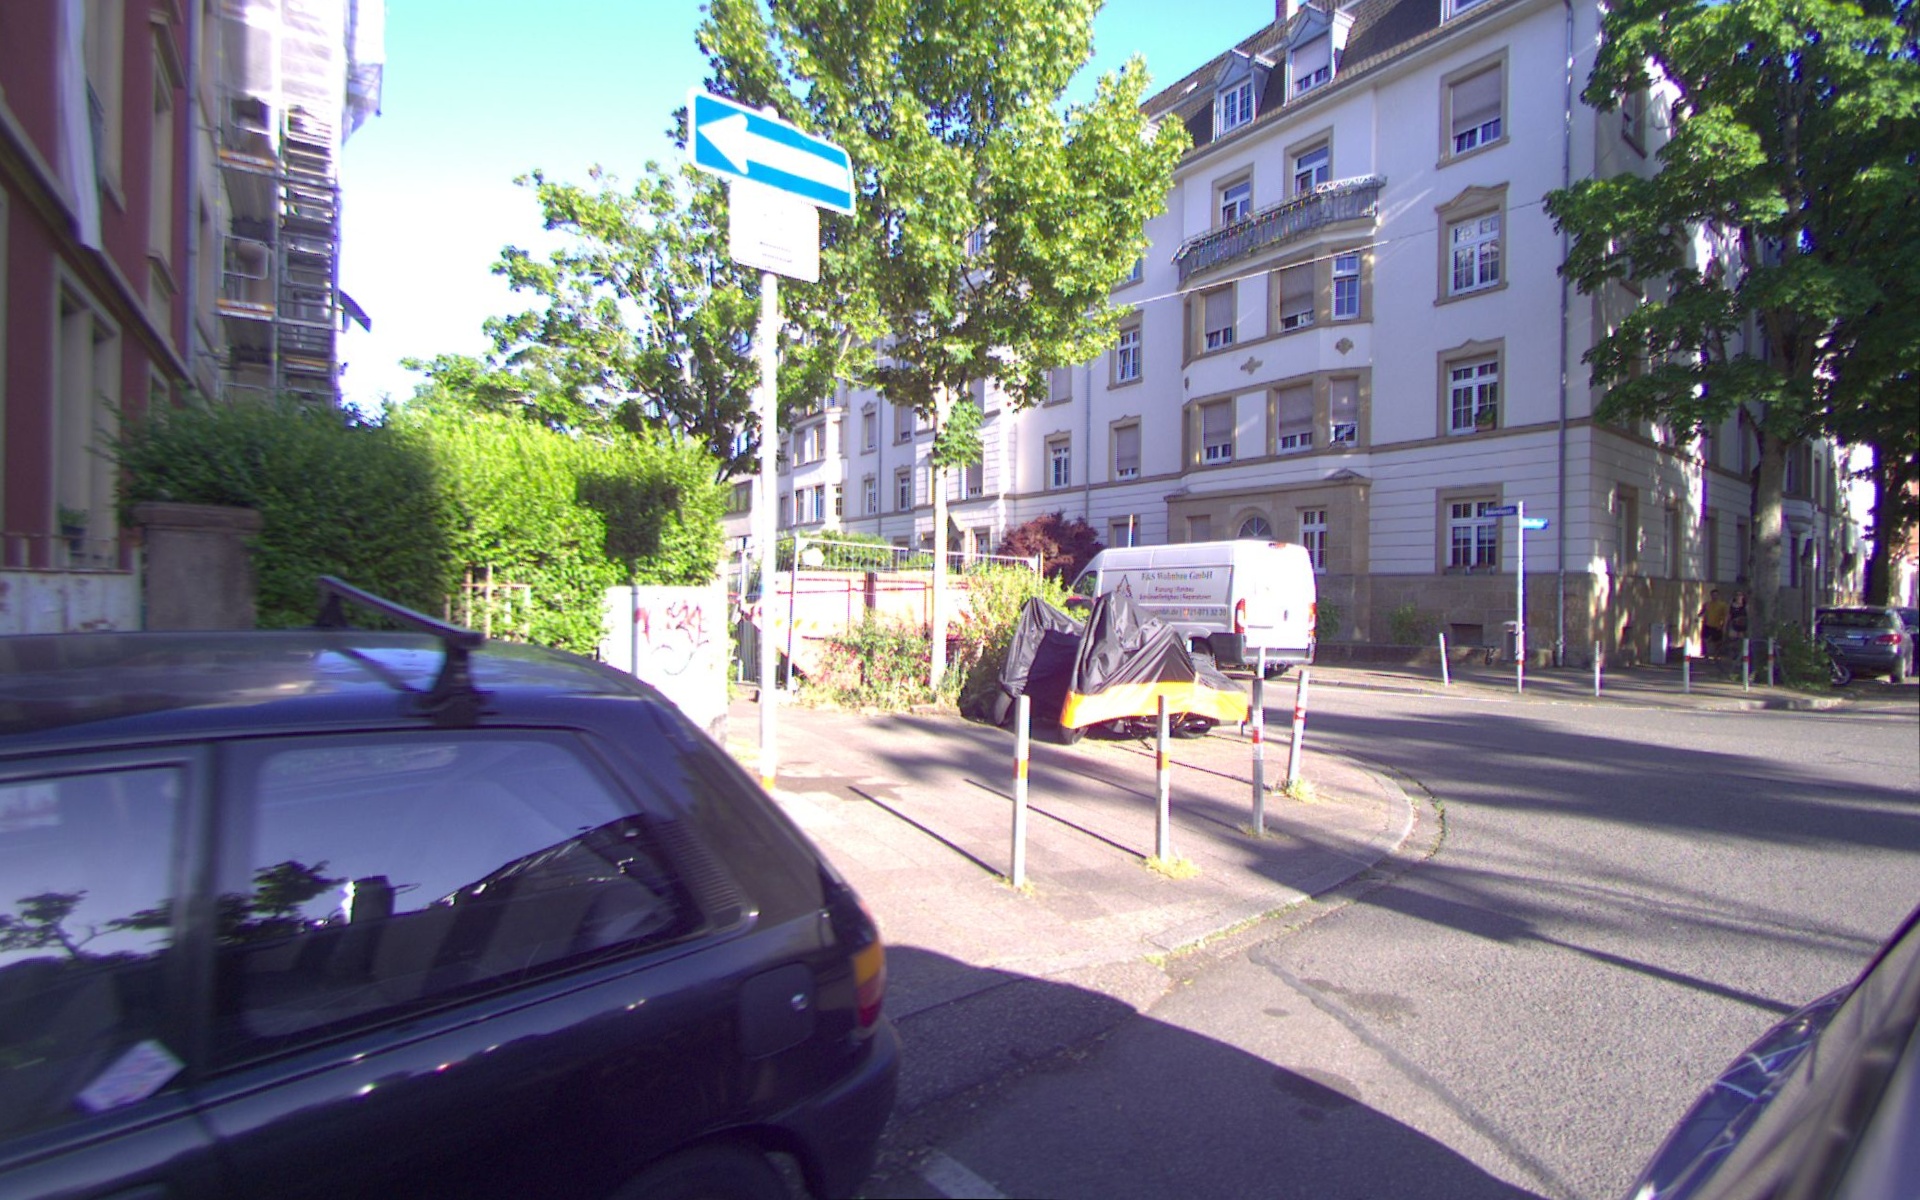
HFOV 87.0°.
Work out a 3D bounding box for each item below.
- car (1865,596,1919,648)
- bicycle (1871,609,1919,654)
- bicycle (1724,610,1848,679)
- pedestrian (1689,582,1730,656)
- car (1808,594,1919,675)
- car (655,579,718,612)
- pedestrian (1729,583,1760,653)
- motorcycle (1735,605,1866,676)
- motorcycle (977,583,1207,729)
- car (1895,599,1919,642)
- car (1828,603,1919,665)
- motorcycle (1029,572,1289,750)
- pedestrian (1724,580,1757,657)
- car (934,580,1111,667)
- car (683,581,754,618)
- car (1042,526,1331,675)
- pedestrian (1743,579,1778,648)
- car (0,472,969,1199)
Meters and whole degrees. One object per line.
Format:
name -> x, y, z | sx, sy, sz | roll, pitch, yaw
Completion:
car -> 29.863, 0.669, 31.835 | 3.930, 1.552, 1.638 | 0, 0, -41
bicycle -> 26.474, 0.883, 28.330 | 0.330, 1.210, 1.412 | 1, 0, -43
bicycle -> 15.742, 0.822, 19.343 | 0.424, 1.176, 1.802 | 1, 2, -25
pedestrian -> 17.499, 0.434, 23.628 | 0.804, 1.706, 0.624 | 1, 0, -42
car -> 20.027, 0.695, 22.161 | 4.064, 1.559, 1.683 | 0, 1, -43
car -> -13.054, -0.240, 48.118 | 1.754, 1.527, 4.222 | 0, 1, -32
pedestrian -> 21.283, 0.483, 27.443 | 0.694, 1.868, 0.528 | 1, 0, -40
motorcycle -> 16.446, 0.769, 19.834 | 0.667, 1.228, 1.852 | 3, 1, -44
motorcycle -> 1.465, 0.543, 10.964 | 2.493, 1.422, 0.872 | 0, 1, -33
car -> 34.192, 0.708, 35.501 | 3.930, 1.460, 1.649 | 0, 0, -41
car -> 23.814, 0.821, 26.270 | 1.723, 1.424, 3.795 | 2, 1, 44
motorcycle -> 1.978, 0.544, 9.843 | 2.571, 1.544, 0.875 | 2, 0, -33
pedestrian -> 17.822, 0.415, 23.103 | 0.508, 1.740, 0.519 | 1, 0, -43
car -> 1.119, 0.394, 19.543 | 1.607, 1.502, 3.534 | 0, 0, -33
car -> -10.557, -0.057, 44.031 | 1.754, 1.527, 4.223 | 0, 1, -32
car -> 4.204, -0.042, 19.962 | 2.260, 2.498, 5.669 | 0, 1, -31
pedestrian -> 22.102, 0.355, 27.940 | 0.704, 1.868, 0.827 | 0, 0, 43
car -> -1.884, 0.601, 1.451 | 3.643, 1.502, 1.670 | 0, 0, -42
